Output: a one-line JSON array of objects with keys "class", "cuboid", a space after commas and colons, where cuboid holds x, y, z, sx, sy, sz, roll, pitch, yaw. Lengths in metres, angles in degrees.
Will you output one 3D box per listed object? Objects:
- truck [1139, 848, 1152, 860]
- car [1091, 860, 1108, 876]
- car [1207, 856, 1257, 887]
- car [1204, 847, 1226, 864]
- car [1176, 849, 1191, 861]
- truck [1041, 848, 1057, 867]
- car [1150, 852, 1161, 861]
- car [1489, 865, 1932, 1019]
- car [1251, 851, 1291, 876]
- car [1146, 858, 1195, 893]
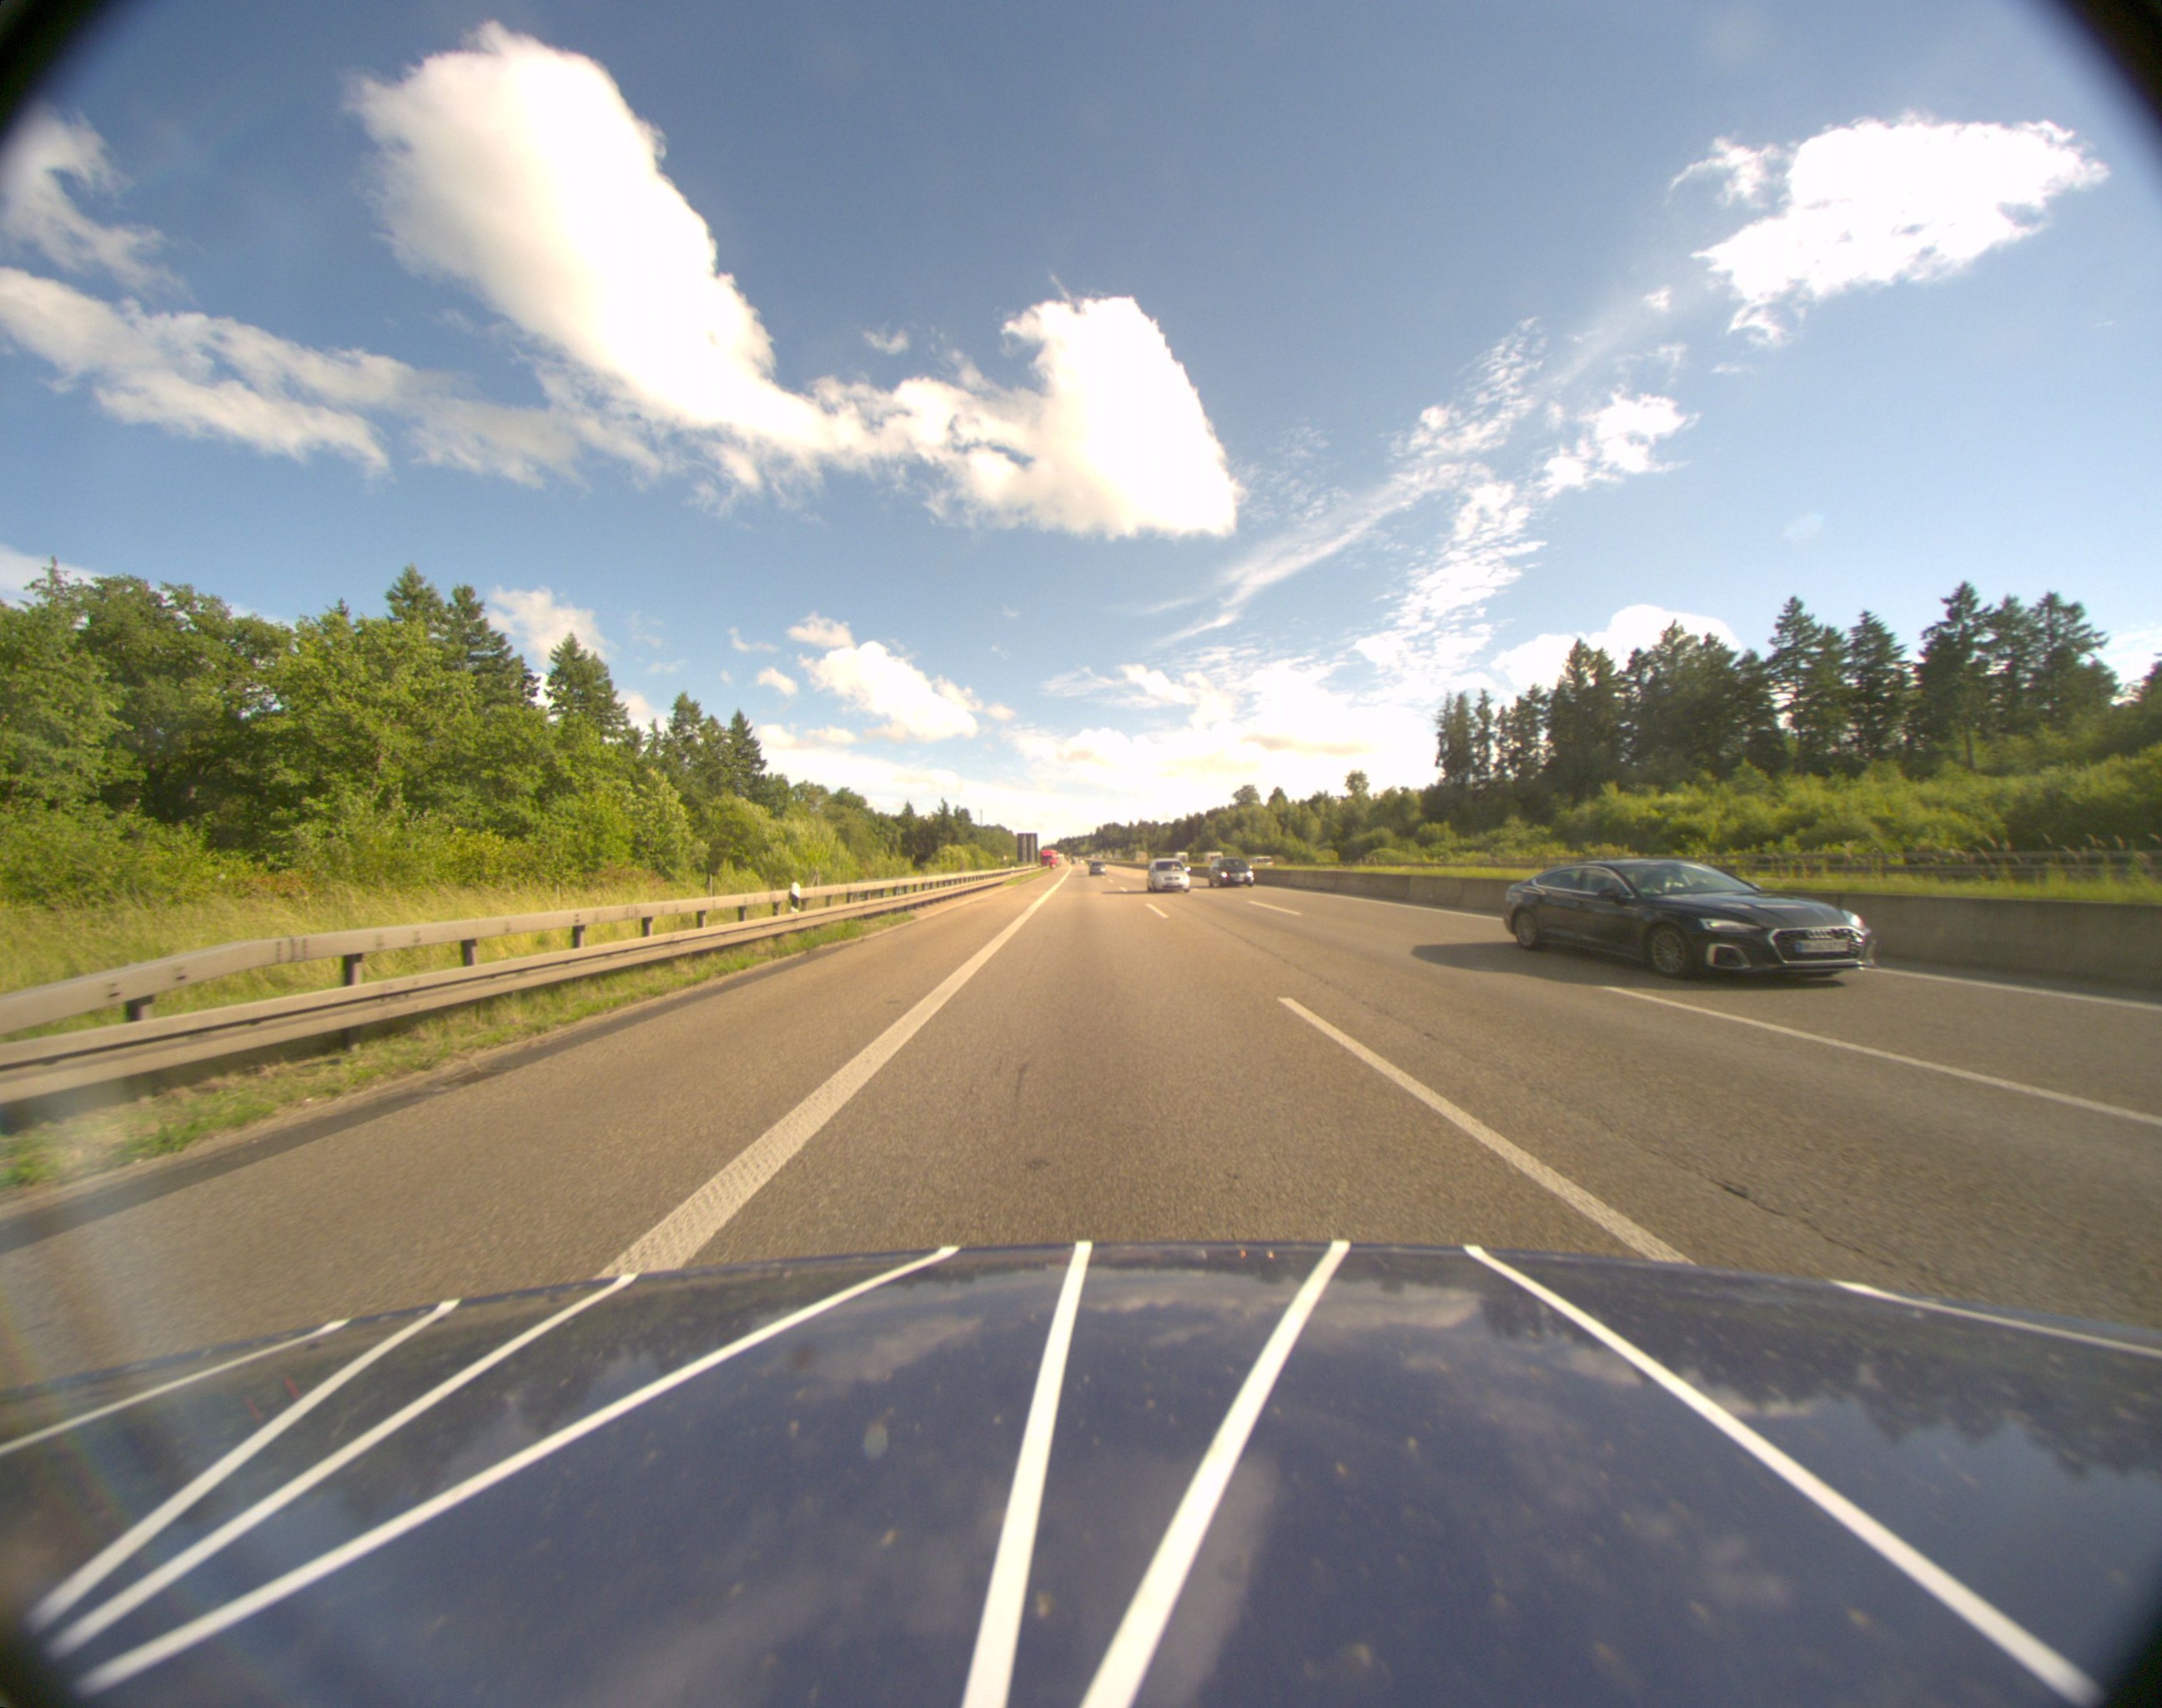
[{"class": "truck", "cuboid": [22.732, 0.034, 268.705, 3.323, 3.880, 11.740, -2, 0, 0]}, {"class": "car", "cuboid": [1.971, 1.429, 80.716, 1.742, 1.608, 4.083, -2, 0, 1]}, {"class": "car", "cuboid": [8.021, 0.897, 40.665, 1.840, 1.508, 4.333, -2, 0, 1]}, {"class": "car", "cuboid": [19.424, 0.260, 110.372, 2.102, 2.262, 5.446, -4, 0, 0]}, {"class": "car", "cuboid": [23.004, 0.139, 171.303, 2.550, 2.461, 5.845, -4, 0, 0]}, {"class": "truck", "cuboid": [-7.007, 0.746, 166.037, 2.880, 3.870, 8.959, -2, 0, 0]}, {"class": "car", "cuboid": [18.645, 0.662, 189.879, 2.325, 2.024, 5.031, -2, 0, 0]}, {"class": "car", "cuboid": [7.580, 0.917, 10.005, 1.860, 1.422, 4.841, -2, 0, 1]}, {"class": "car", "cuboid": [16.269, 0.759, 65.372, 2.102, 1.914, 5.284, -4, 0, 0]}, {"class": "car", "cuboid": [4.205, 0.998, 36.349, 1.840, 1.508, 4.333, -2, 0, 1]}]
